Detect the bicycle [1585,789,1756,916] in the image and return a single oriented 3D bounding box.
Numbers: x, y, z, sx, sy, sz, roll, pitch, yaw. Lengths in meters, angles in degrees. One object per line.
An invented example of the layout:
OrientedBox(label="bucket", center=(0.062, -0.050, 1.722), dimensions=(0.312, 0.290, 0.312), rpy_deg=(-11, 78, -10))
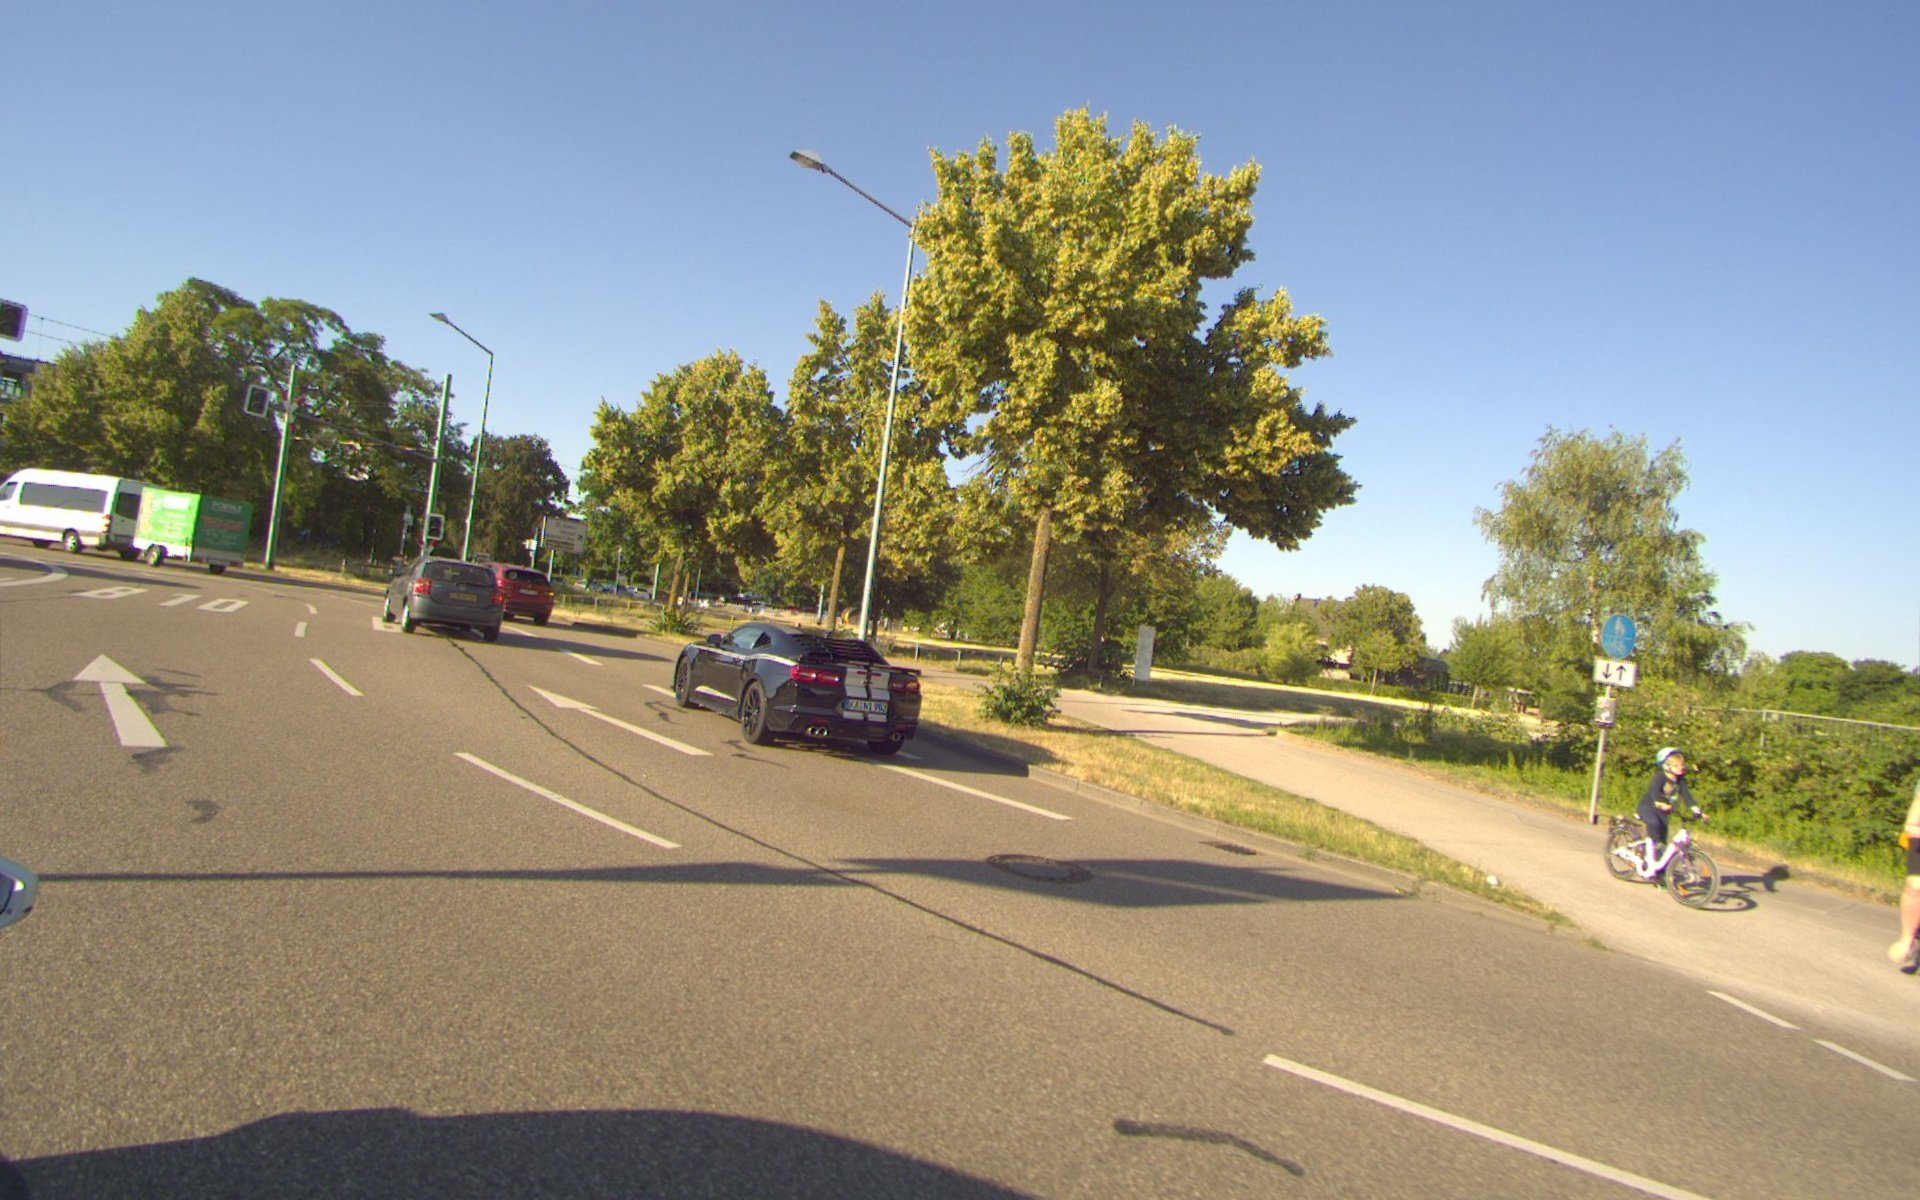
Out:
OrientedBox(label="bicycle", center=(6.612, 2.327, 9.451), dimensions=(0.432, 0.796, 1.463), rpy_deg=(7, -1, -3))

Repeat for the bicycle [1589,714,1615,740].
OrientedBox(label="bicycle", center=(30.670, 6.073, 48.052), dimensions=(2.032, 1.032, 0.503), rpy_deg=(10, -3, -43))

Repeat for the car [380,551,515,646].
OrientedBox(label="car", center=(-10.314, -0.083, 20.097), dimensions=(1.738, 1.491, 3.783), rpy_deg=(8, -1, -36))

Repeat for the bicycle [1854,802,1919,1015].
OrientedBox(label="bicycle", center=(6.993, 2.149, 7.121), dimensions=(1.895, 1.260, 0.602), rpy_deg=(7, 0, -39))

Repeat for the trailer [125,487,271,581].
OrientedBox(label="trailer", center=(-24.345, -2.097, 32.168), dimensions=(3.438, 2.427, 2.098), rpy_deg=(7, -2, 24))

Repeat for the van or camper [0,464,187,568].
OrientedBox(label="van or camper", center=(-29.850, -2.882, 34.022), dimensions=(6.458, 2.658, 2.295), rpy_deg=(7, -2, 17))

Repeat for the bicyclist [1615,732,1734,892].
OrientedBox(label="bicyclist", center=(6.652, 1.954, 9.390), dimensions=(0.458, 1.310, 0.650), rpy_deg=(8, 0, -3))

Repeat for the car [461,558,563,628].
OrientedBox(label="car", center=(-13.153, -0.230, 29.437), dimensions=(1.739, 1.640, 3.780), rpy_deg=(8, -1, -38))

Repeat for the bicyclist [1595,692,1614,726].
OrientedBox(label="bicyclist", center=(30.843, 5.213, 48.136), dimensions=(0.616, 1.493, 0.504), rpy_deg=(9, -3, -43))

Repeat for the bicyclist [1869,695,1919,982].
OrientedBox(label="bicyclist", center=(7.000, 1.682, 7.083), dimensions=(0.932, 1.923, 0.595), rpy_deg=(6, 1, -39))

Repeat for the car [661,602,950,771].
OrientedBox(label="car", center=(-2.150, 0.961, 12.619), dimensions=(1.842, 1.353, 4.587), rpy_deg=(9, -1, -31))
